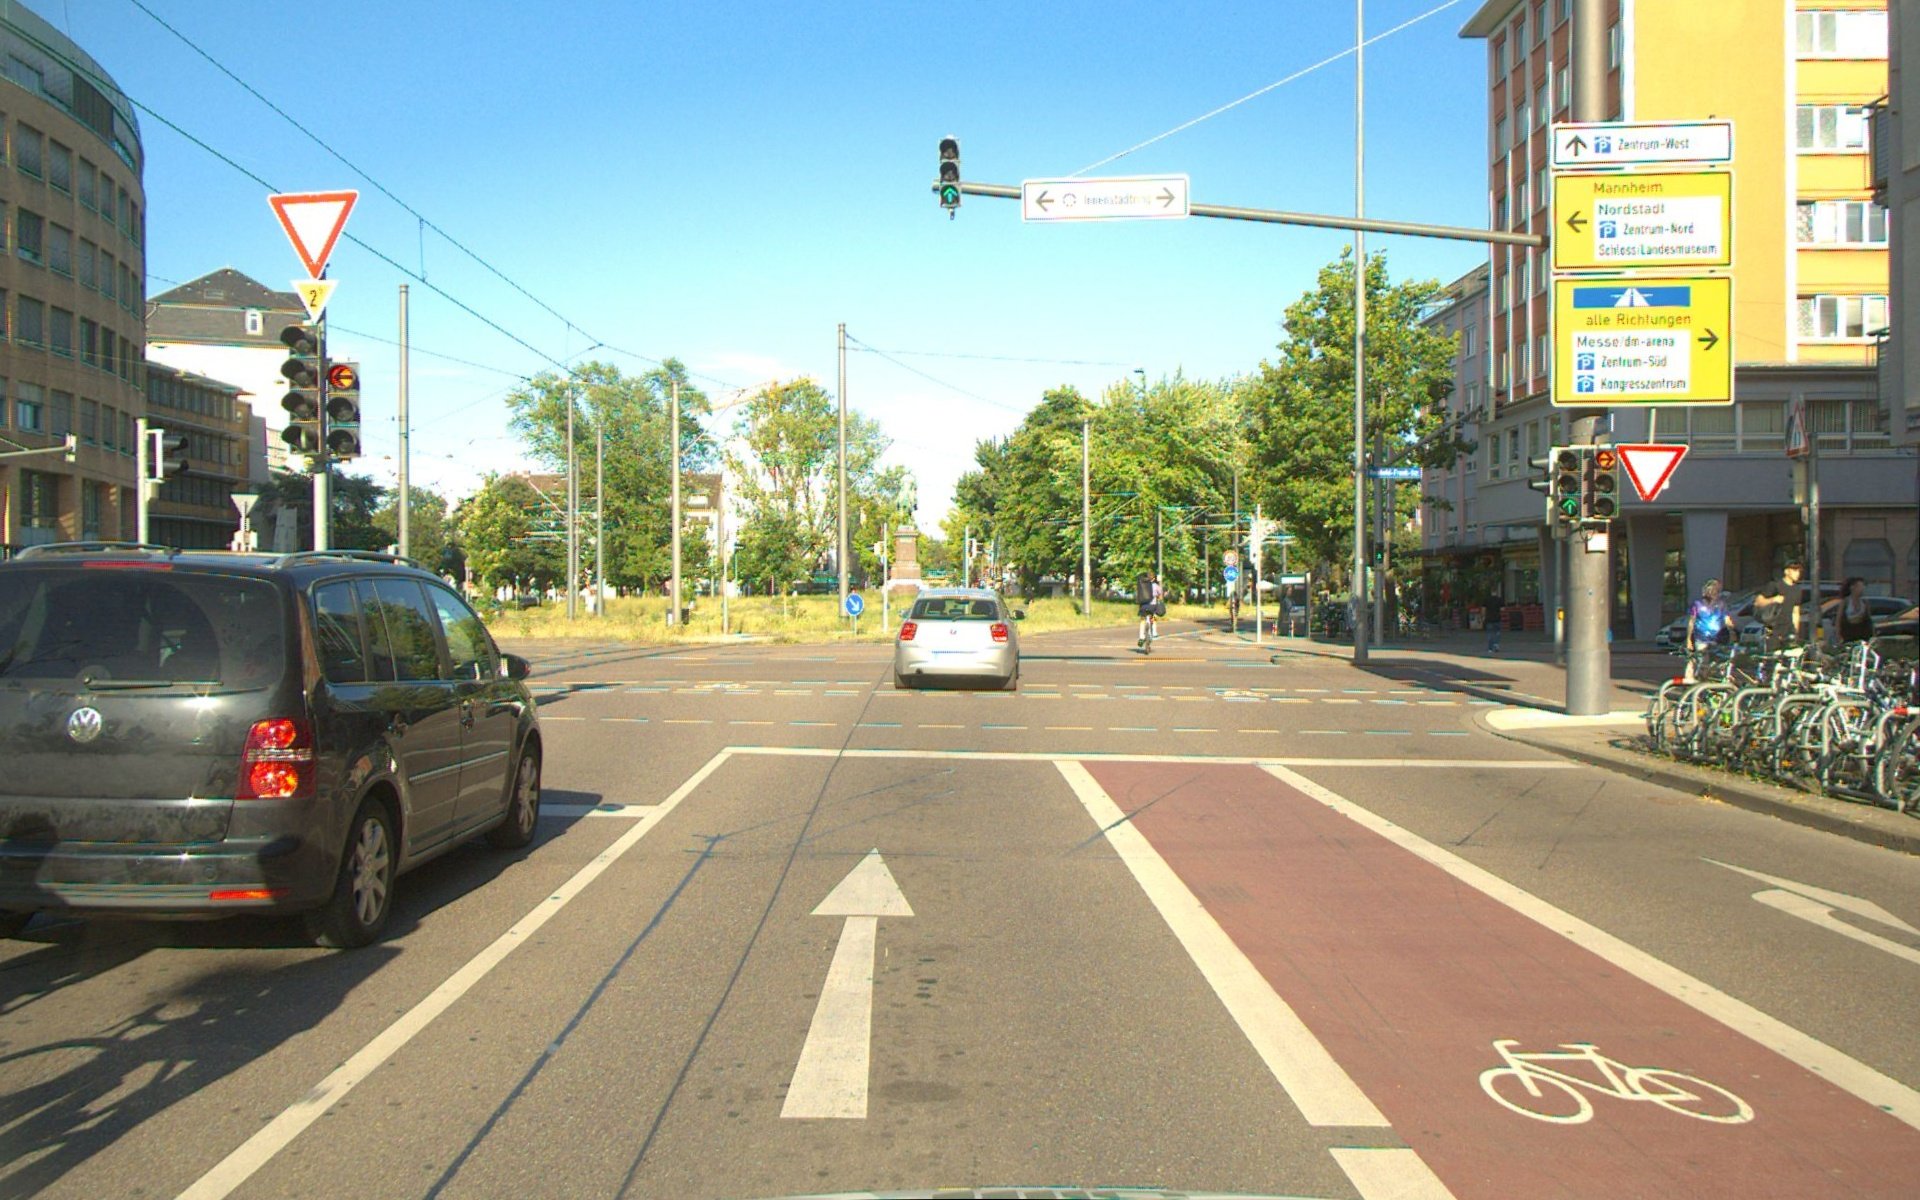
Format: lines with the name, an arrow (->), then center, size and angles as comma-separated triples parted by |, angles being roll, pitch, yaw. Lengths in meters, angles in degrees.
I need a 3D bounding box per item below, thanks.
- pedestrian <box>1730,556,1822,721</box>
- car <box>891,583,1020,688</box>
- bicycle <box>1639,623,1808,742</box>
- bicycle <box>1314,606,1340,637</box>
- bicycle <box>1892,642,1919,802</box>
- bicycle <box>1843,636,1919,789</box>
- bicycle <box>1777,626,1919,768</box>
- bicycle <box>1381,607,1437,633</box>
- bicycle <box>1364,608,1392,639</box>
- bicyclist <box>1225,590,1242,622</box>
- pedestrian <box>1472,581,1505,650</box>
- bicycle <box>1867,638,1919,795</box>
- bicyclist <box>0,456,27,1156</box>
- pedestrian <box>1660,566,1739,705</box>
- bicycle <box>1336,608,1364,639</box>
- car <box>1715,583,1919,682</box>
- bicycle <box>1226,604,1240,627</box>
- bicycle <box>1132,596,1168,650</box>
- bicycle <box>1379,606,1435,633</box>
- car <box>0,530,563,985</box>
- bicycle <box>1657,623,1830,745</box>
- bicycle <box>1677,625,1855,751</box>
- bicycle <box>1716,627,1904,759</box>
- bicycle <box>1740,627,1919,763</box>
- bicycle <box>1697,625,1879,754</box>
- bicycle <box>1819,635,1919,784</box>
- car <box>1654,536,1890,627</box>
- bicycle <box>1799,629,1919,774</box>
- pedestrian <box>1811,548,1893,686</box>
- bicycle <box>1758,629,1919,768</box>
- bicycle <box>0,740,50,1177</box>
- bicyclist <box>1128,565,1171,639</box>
pedestrian -> 10.496, 0.483, 21.300 | 0.774, 2.049, 0.870 | 2, 0, 6
car -> -0.064, 0.474, 24.686 | 1.761, 1.439, 4.000 | 0, 0, 0
bicycle -> 7.159, 0.769, 15.520 | 1.435, 1.086, 0.257 | -1, 0, 1
bicycle -> 12.709, 0.731, 57.347 | 0.408, 1.026, 1.944 | 2, 0, -2
bicycle -> 7.243, 0.827, 11.421 | 1.435, 1.086, 0.257 | -1, 0, 1
bicycle -> 7.240, 0.809, 12.057 | 1.435, 1.086, 0.257 | -1, 0, 1
bicycle -> 7.223, 0.755, 13.019 | 1.435, 1.086, 0.257 | -1, 0, 1
bicycle -> 19.581, 0.862, 72.154 | 2.270, 1.087, 0.556 | 2, 0, 22
bicycle -> 14.389, 0.811, 56.987 | 0.408, 1.026, 1.944 | 2, 0, -2
bicyclist -> 12.051, 0.250, 72.922 | 0.604, 1.404, 0.686 | 2, 0, 0
pedestrian -> 15.150, 0.439, 47.410 | 0.693, 1.953, 0.704 | 2, 0, 3
bicycle -> 7.236, 0.810, 11.735 | 1.435, 1.086, 0.257 | -1, 0, 1
bicyclist -> -2.454, 0.472, 3.550 | 0.606, 1.599, 0.684 | 0, 0, -12
pedestrian -> 10.372, 0.481, 23.222 | 0.808, 1.888, 0.917 | 1, 0, 14
bicycle -> 13.430, 0.789, 56.968 | 0.408, 1.026, 1.944 | 2, 0, -2
car -> 19.574, 0.715, 37.156 | 4.272, 2.049, 1.972 | 2, 0, 0
bicycle -> 12.066, 0.671, 73.014 | 0.344, 0.975, 1.573 | 2, 0, 1
bicycle -> 4.098, 0.479, 35.756 | 0.489, 1.107, 1.997 | 2, 0, -1
bicycle -> 19.321, 0.833, 71.573 | 2.270, 1.087, 0.556 | 2, 0, 22
car -> -3.215, 0.557, 8.008 | 1.669, 1.650, 3.999 | 0, 0, -1
bicycle -> 7.164, 0.764, 15.142 | 1.435, 1.086, 0.257 | -1, 0, 1
bicycle -> 7.201, 0.781, 14.794 | 1.435, 1.086, 0.257 | -1, 0, 1
bicycle -> 7.212, 0.785, 14.045 | 1.435, 1.086, 0.257 | -1, 0, 1
bicycle -> 7.244, 0.781, 13.683 | 1.435, 1.086, 0.257 | -1, 0, 1
bicycle -> 7.211, 0.779, 14.420 | 1.435, 1.086, 0.257 | -1, 0, 1
bicycle -> 7.231, 0.807, 12.382 | 1.435, 1.086, 0.257 | -1, 0, 1
car -> 19.794, -0.440, 40.472 | 4.632, 2.049, 2.259 | 2, 0, 0
bicycle -> 7.238, 0.769, 12.699 | 1.435, 1.086, 0.257 | -1, 0, 1
pedestrian -> 13.619, 0.255, 25.284 | 0.858, 2.049, 0.913 | 1, 0, 14
bicycle -> 7.223, 0.789, 13.328 | 1.435, 1.086, 0.257 | -1, 0, 1
bicycle -> -2.455, 0.915, 3.525 | 0.332, 1.075, 1.774 | 2, 0, -10
bicyclist -> 4.093, 0.040, 35.736 | 0.769, 1.558, 0.895 | 2, 0, -1
